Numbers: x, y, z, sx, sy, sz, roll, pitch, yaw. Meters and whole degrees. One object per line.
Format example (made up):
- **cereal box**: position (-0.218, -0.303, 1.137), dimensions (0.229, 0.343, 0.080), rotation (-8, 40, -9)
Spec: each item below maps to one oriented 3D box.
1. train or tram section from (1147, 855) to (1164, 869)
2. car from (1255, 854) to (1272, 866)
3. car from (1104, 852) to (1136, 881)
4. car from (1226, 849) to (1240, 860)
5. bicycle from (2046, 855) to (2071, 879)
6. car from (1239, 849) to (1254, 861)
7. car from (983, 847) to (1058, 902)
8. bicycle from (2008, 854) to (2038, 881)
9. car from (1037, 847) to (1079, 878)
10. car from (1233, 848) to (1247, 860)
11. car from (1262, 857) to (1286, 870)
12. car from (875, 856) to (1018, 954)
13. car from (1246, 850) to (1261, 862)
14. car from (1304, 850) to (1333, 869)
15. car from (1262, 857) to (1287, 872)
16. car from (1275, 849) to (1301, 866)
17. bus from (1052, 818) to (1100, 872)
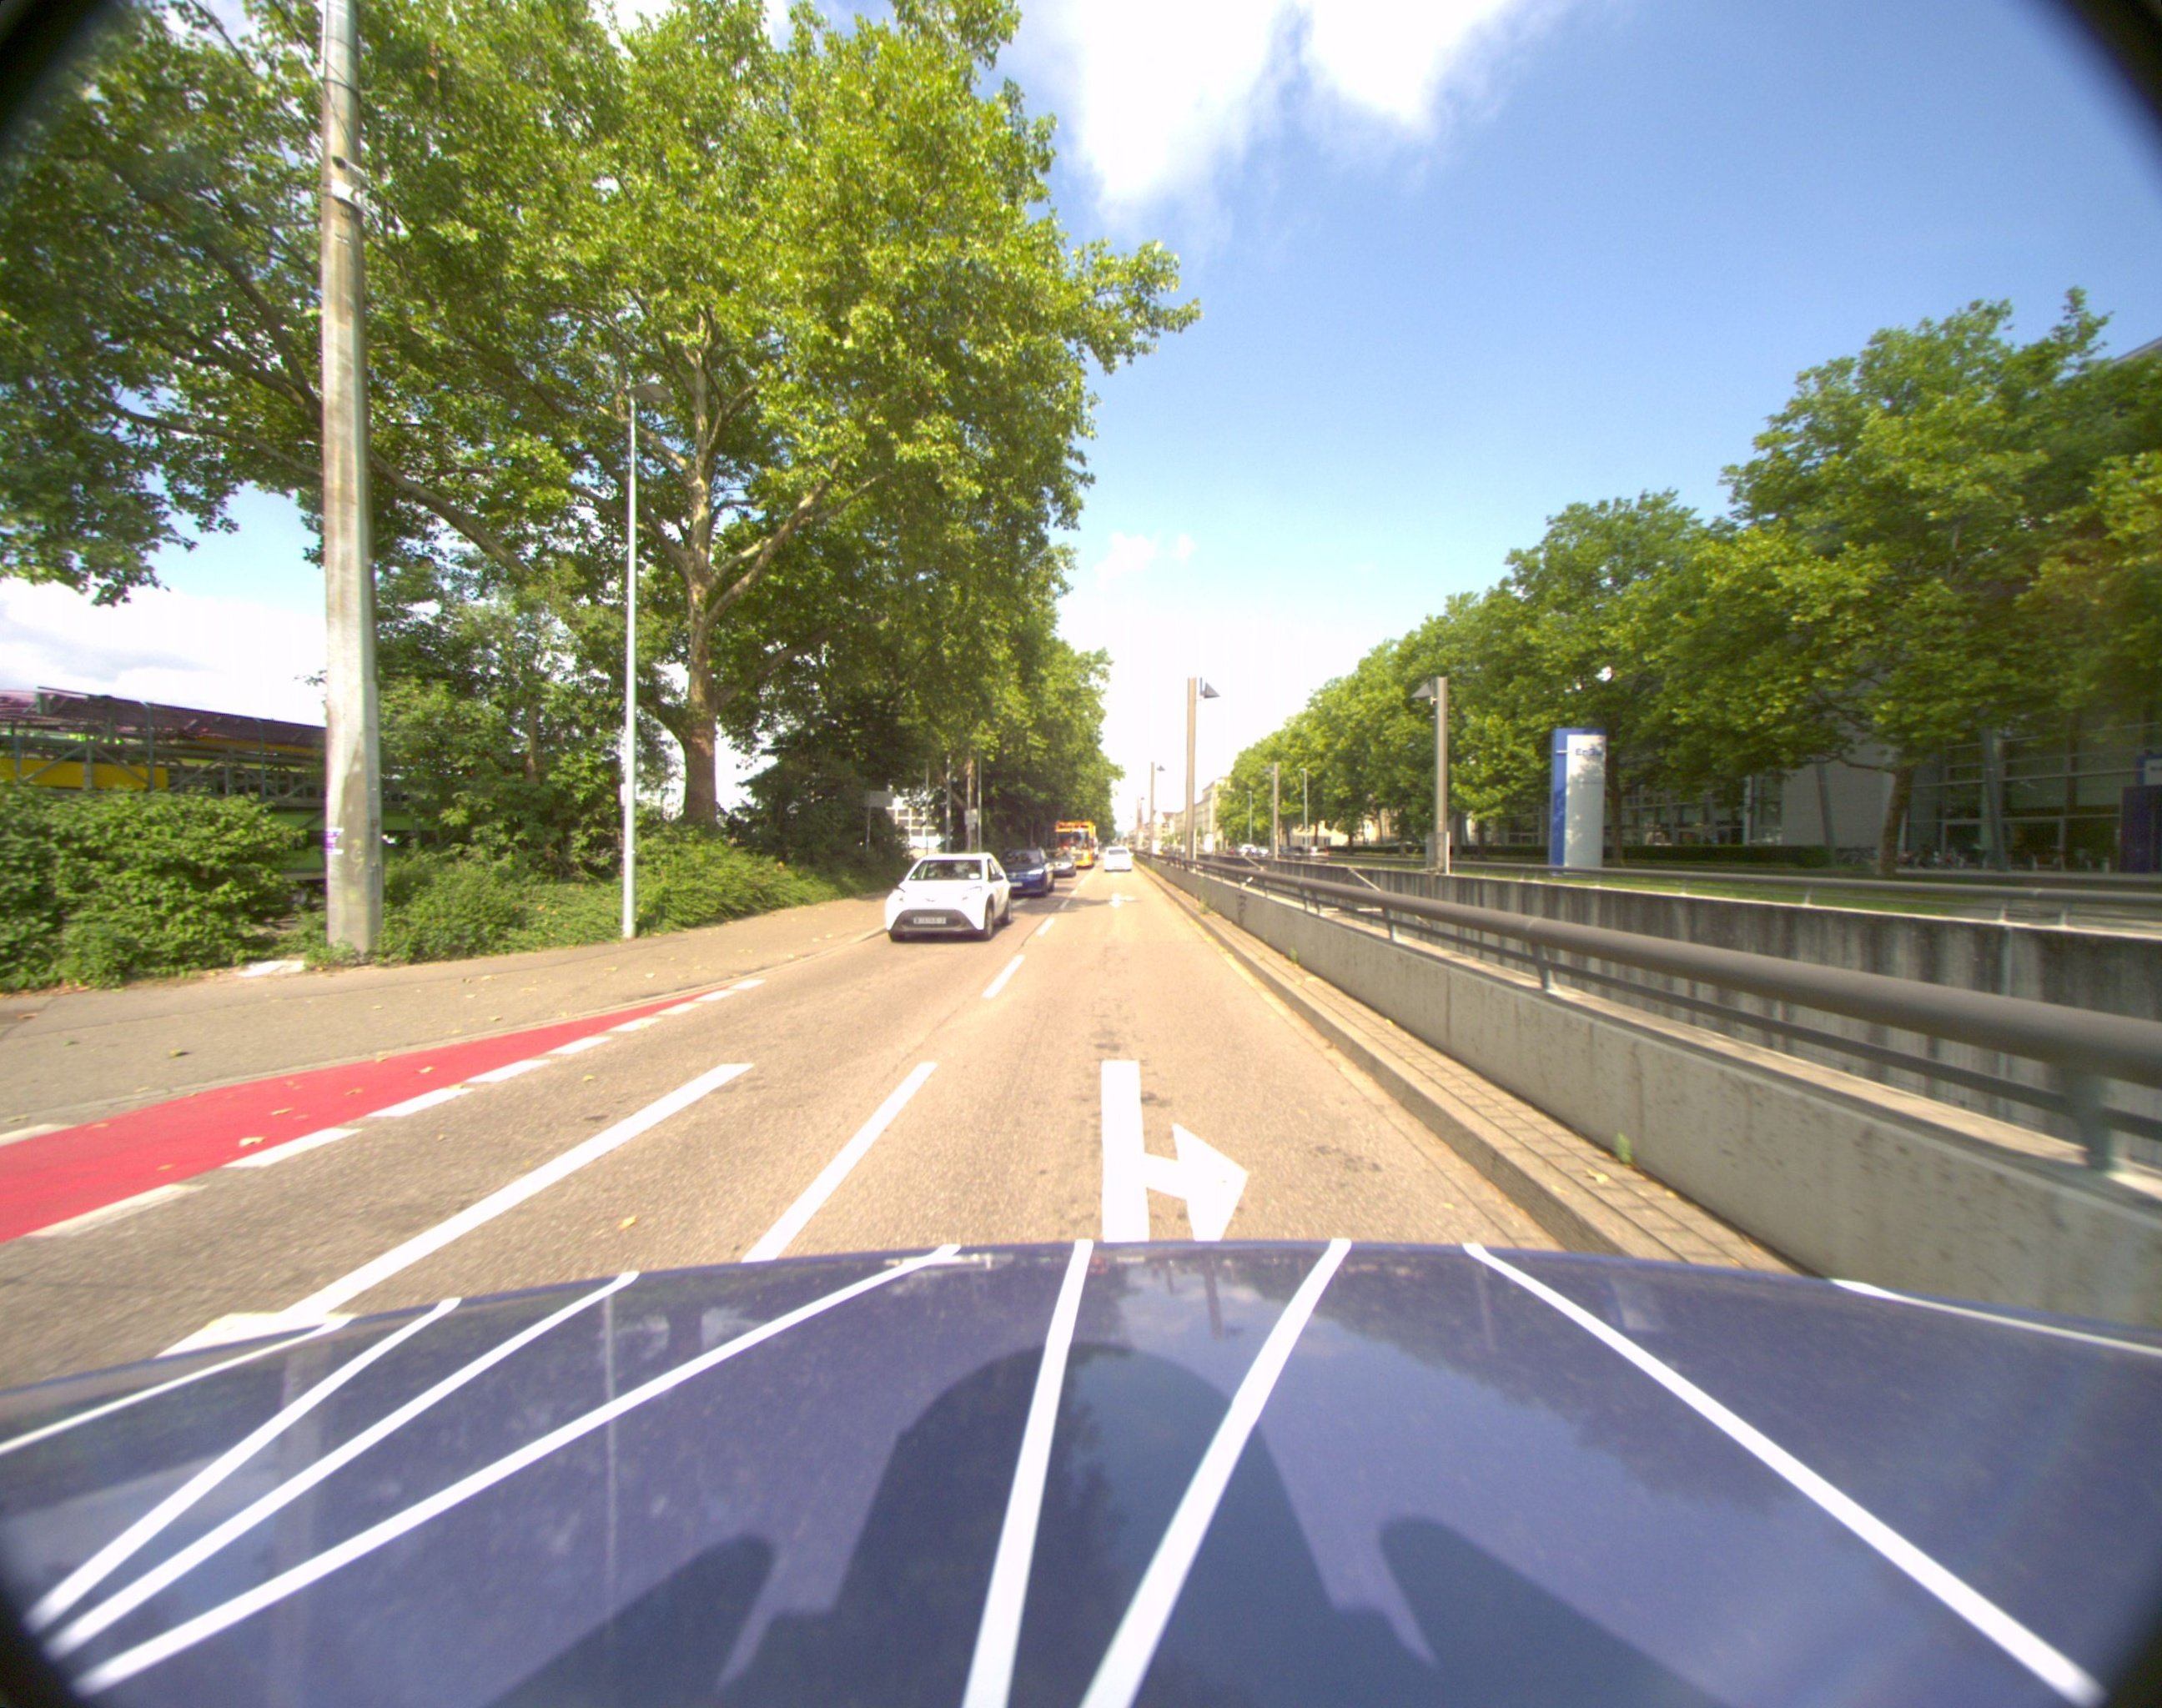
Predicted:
- **train or tram section**: position (14.002, 1.448, 142.773), dimensions (2.216, 2.444, 6.247), rotation (-3, 0, -2)
- **car**: position (18.883, 0.614, 78.613), dimensions (1.180, 1.236, 2.549), rotation (-1, 1, 2)
- **car**: position (2.347, 0.731, 46.823), dimensions (1.736, 1.477, 3.601), rotation (-6, 1, 1)
- **car**: position (19.865, 0.070, 99.479), dimensions (1.308, 1.368, 3.185), rotation (-1, 0, 3)
- **bicycle**: position (44.681, 0.581, 34.738), dimensions (2.343, 1.017, 0.593), rotation (-1, 0, -41)
- **car**: position (19.345, 0.101, 88.870), dimensions (1.308, 1.368, 3.185), rotation (-1, 0, 3)
- **car**: position (-1.922, 0.608, 25.623), dimensions (1.891, 1.566, 4.580), rotation (-2, 1, 3)
- **bicycle**: position (44.119, 0.627, 35.614), dimensions (2.343, 1.170, 0.812), rotation (-1, 0, -41)
- **car**: position (-1.106, 0.411, 39.083), dimensions (1.771, 1.455, 4.000), rotation (-3, 0, 3)
- **car**: position (19.735, -0.003, 94.402), dimensions (1.308, 1.368, 3.185), rotation (-1, 0, 3)
- **car**: position (18.803, 0.956, 73.998), dimensions (1.611, 1.198, 3.128), rotation (-1, 0, 2)
- **car**: position (-2.327, 0.836, 14.143), dimensions (1.748, 1.471, 3.799), rotation (-1, 1, 3)
- **car**: position (19.029, 0.217, 83.987), dimensions (1.167, 1.368, 2.746), rotation (-1, 1, 3)
- **car**: position (18.869, 0.441, 60.449), dimensions (1.420, 1.447, 3.157), rotation (-1, 0, 3)
- **car**: position (18.969, 1.000, 74.555), dimensions (1.579, 1.368, 3.896), rotation (-1, 0, 3)
- **car**: position (18.382, 0.295, 67.469), dimensions (1.582, 1.426, 3.157), rotation (-1, 0, 3)
- **bus**: position (-0.207, -0.667, 55.207), dimensions (2.744, 3.446, 10.396), rotation (-2, 1, 3)
